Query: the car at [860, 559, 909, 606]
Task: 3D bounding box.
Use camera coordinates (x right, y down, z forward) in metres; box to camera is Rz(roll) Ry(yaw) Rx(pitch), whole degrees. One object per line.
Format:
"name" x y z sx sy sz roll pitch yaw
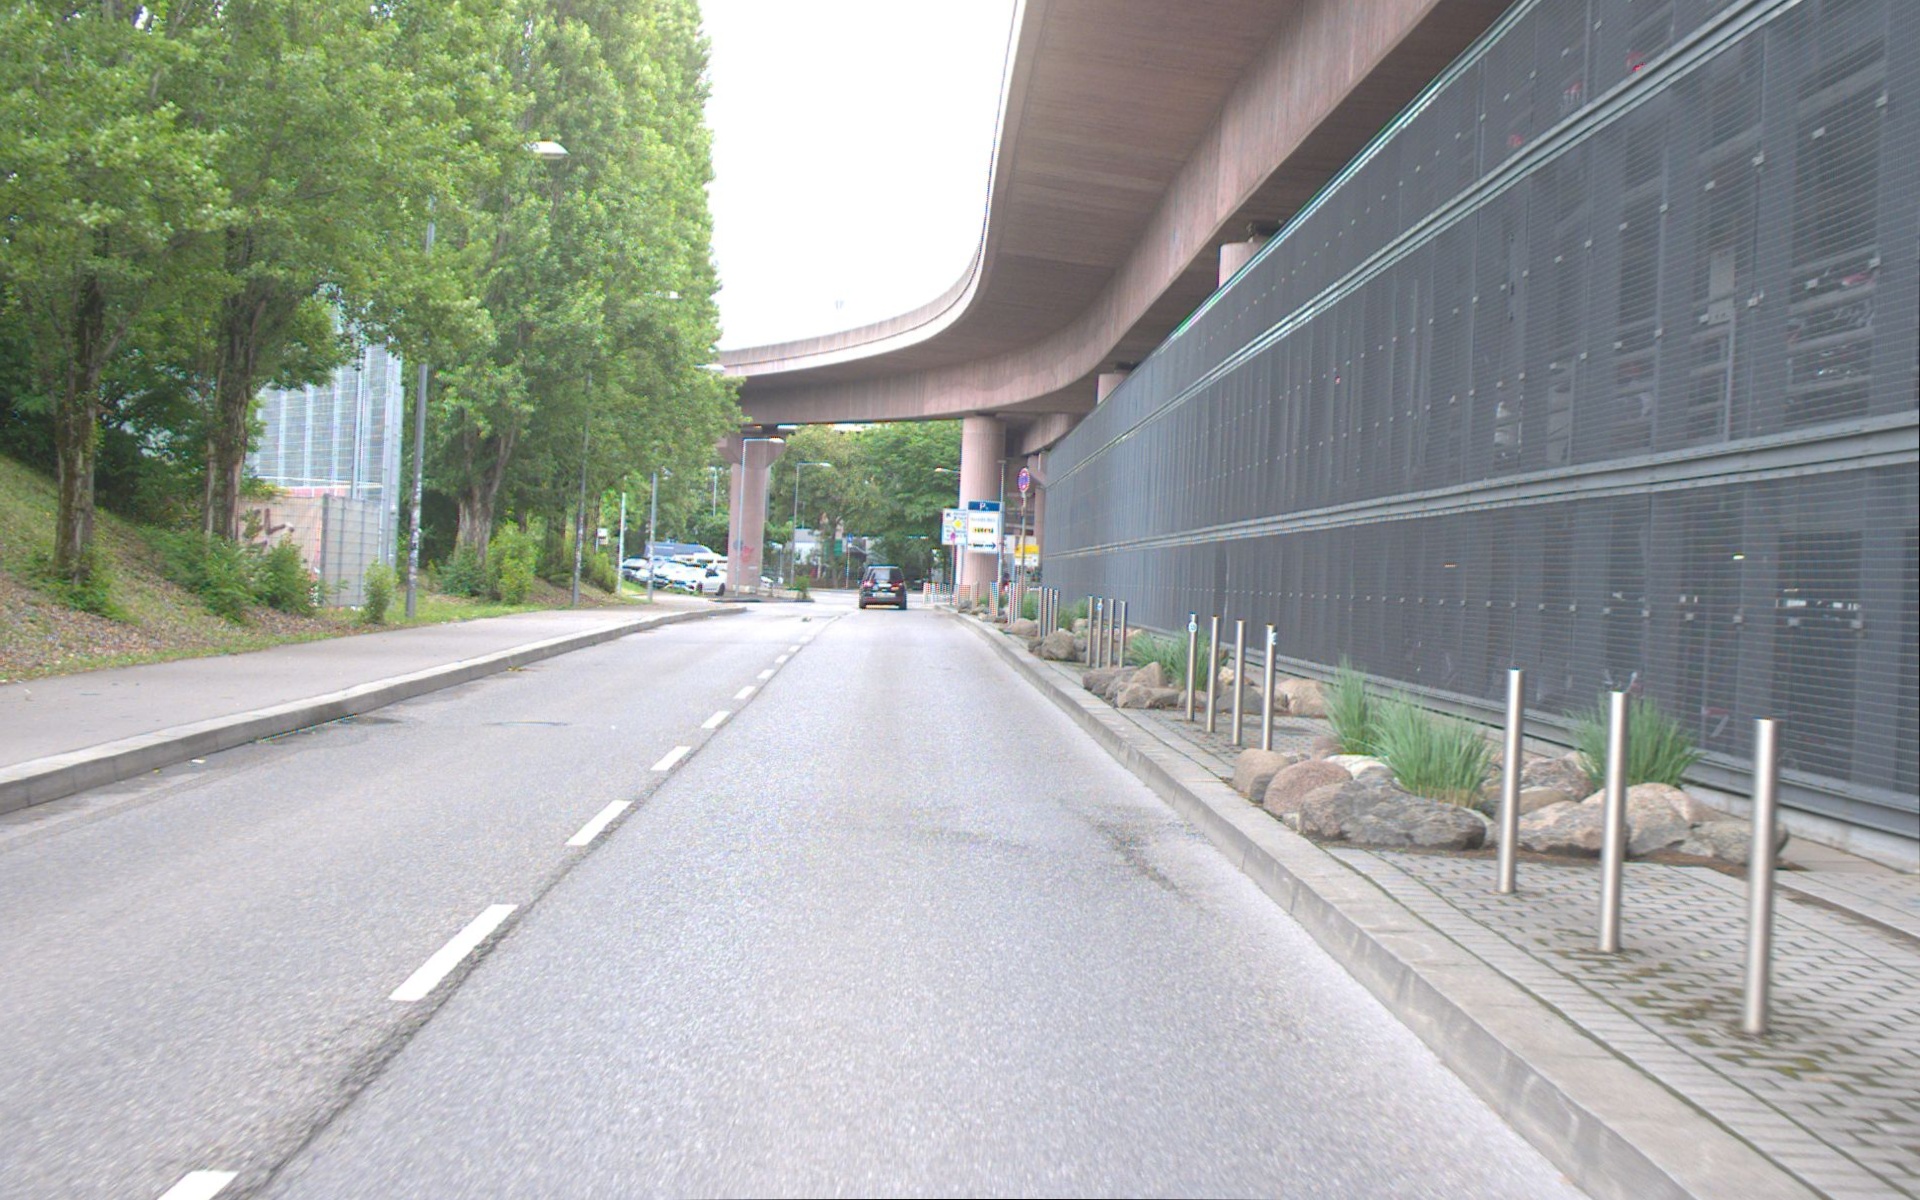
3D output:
"car" -3.011 -0.727 137.732 1.839 1.705 3.706 2 2 -1

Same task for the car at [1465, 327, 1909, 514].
"car" 7.165 -1.765 34.175 3.987 1.651 1.832 2 2 1

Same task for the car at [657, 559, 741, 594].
"car" -13.474 -1.214 177.748 1.884 1.711 4.143 4 2 40

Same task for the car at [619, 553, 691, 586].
"car" -16.470 -1.638 185.540 1.724 1.711 3.664 4 2 40

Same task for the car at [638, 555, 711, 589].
"car" -15.105 -1.477 181.974 1.724 1.711 3.664 4 2 40

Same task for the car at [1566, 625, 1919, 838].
"car" 7.006 1.057 27.290 3.987 1.461 1.811 3 1 -1

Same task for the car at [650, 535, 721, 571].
"car" -16.904 -2.894 211.838 4.213 2.007 2.000 3 0 -2
